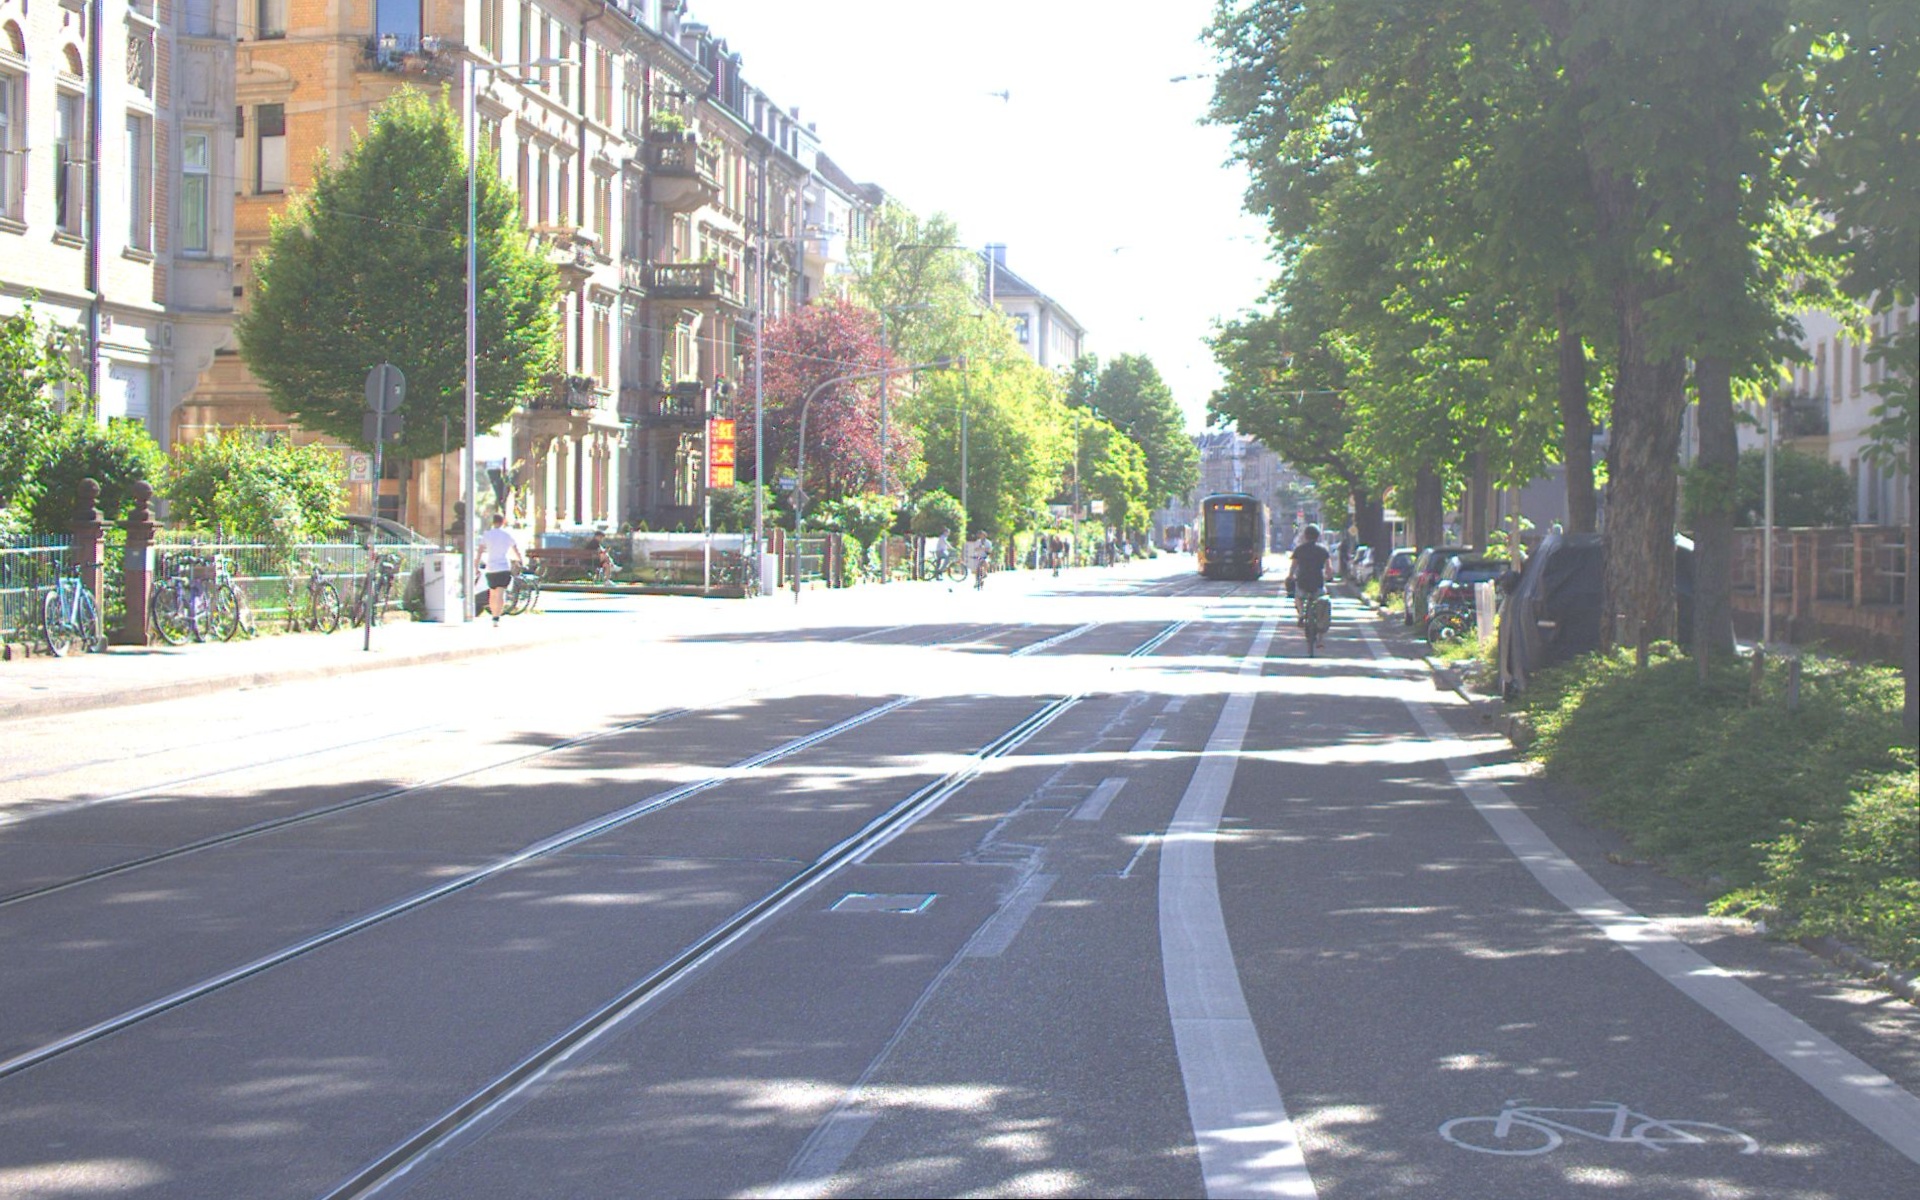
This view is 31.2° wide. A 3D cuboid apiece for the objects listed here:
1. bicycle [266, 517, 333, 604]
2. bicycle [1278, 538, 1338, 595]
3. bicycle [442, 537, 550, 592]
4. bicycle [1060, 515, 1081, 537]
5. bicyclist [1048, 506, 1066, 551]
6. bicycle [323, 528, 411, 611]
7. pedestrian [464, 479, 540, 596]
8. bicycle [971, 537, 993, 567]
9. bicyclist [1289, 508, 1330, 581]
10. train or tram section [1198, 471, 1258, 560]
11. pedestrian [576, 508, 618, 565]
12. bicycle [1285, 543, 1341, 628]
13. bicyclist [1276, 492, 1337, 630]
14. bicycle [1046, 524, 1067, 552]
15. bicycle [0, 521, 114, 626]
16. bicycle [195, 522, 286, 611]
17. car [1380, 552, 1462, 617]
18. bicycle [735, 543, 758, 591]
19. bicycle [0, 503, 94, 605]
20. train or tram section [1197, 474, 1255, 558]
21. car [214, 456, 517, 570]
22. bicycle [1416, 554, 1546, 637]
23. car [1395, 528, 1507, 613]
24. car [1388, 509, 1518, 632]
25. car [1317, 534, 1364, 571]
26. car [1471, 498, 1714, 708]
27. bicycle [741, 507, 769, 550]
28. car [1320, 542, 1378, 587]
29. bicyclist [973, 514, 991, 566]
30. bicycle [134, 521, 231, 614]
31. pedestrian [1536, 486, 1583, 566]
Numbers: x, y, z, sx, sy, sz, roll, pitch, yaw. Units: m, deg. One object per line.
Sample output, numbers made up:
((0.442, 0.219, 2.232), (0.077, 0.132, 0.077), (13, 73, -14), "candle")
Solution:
((-8.831, -0.539, 45.935), (0.563, 1.030, 1.768), (5, 2, -19), "bicycle")
((7.141, -0.683, 70.457), (0.692, 1.108, 1.915), (3, 2, 21), "bicycle")
((-8.312, -0.633, 61.572), (1.782, 0.911, 0.621), (2, 0, -30), "bicycle")
((5.622, -3.780, 175.610), (0.632, 1.065, 1.832), (3, 1, -11), "bicycle")
((3.887, -2.848, 137.783), (0.660, 1.795, 0.616), (-1, 0, 6), "bicyclist")
((-8.198, -0.430, 47.466), (0.563, 1.029, 1.768), (1, 3, -31), "bicycle")
((-6.901, -0.937, 51.860), (0.829, 1.718, 1.082), (3, 0, 6), "pedestrian")
((0.681, -1.491, 106.245), (0.460, 0.922, 2.202), (0, 1, 6), "bicycle")
((7.170, -1.131, 70.533), (0.636, 1.463, 0.615), (3, 1, 22), "bicyclist")
((10.947, -3.440, 140.071), (2.154, 3.420, 6.610), (3, 1, 5), "train or tram section")
((-8.714, -1.523, 82.559), (0.901, 1.348, 0.577), (0, 1, 7), "pedestrian")
((4.852, -0.207, 47.231), (0.692, 1.108, 1.718), (3, 1, 6), "bicycle")
((4.751, -0.533, 47.136), (0.727, 1.842, 0.836), (3, 1, 5), "bicyclist")
((3.879, -2.483, 137.873), (0.692, 1.108, 1.718), (0, 1, 6), "bicycle")
((-9.598, -0.298, 36.534), (0.563, 1.029, 1.767), (3, 3, 6), "bicycle")
((-8.849, -0.423, 42.315), (0.563, 1.030, 1.767), (3, 2, 5), "bicycle")
((11.111, -0.396, 82.984), (1.787, 1.459, 4.044), (1, 1, 6), "car")
((-5.068, -0.789, 81.665), (0.371, 1.122, 0.808), (3, 1, 6), "bicycle")
((-10.394, -0.528, 37.775), (1.575, 1.030, 0.479), (5, 2, 5), "bicycle")
((11.381, -3.572, 146.677), (2.154, 3.420, 6.610), (3, 1, 5), "train or tram section")
((-9.753, -1.423, 56.519), (4.447, 1.638, 1.966), (3, 1, 9), "car")
((7.409, -0.068, 48.925), (1.762, 1.074, 0.433), (3, 1, 7), "bicycle")
((8.859, -0.557, 62.312), (1.720, 1.468, 4.246), (0, 1, 4), "car")
((7.488, -0.479, 52.523), (1.666, 1.755, 4.231), (2, 1, 5), "car")
((15.130, -1.893, 136.915), (1.749, 1.415, 3.999), (1, 1, 5), "car")
((5.875, -0.029, 32.389), (1.744, 1.760, 4.477), (3, 2, 5), "car")
((-4.924, -1.715, 82.586), (0.335, 0.997, 1.869), (3, 1, 6), "bicycle")
((13.268, -1.233, 117.396), (1.628, 1.431, 4.665), (1, 1, 3), "car")
((0.668, -1.849, 106.044), (0.464, 1.613, 0.744), (-1, 1, 6), "bicyclist")
((-9.113, -0.393, 40.352), (0.563, 1.030, 1.767), (3, 2, 5), "bicycle")
((13.315, -1.645, 76.359), (0.764, 1.718, 0.578), (4, 2, 35), "pedestrian")
